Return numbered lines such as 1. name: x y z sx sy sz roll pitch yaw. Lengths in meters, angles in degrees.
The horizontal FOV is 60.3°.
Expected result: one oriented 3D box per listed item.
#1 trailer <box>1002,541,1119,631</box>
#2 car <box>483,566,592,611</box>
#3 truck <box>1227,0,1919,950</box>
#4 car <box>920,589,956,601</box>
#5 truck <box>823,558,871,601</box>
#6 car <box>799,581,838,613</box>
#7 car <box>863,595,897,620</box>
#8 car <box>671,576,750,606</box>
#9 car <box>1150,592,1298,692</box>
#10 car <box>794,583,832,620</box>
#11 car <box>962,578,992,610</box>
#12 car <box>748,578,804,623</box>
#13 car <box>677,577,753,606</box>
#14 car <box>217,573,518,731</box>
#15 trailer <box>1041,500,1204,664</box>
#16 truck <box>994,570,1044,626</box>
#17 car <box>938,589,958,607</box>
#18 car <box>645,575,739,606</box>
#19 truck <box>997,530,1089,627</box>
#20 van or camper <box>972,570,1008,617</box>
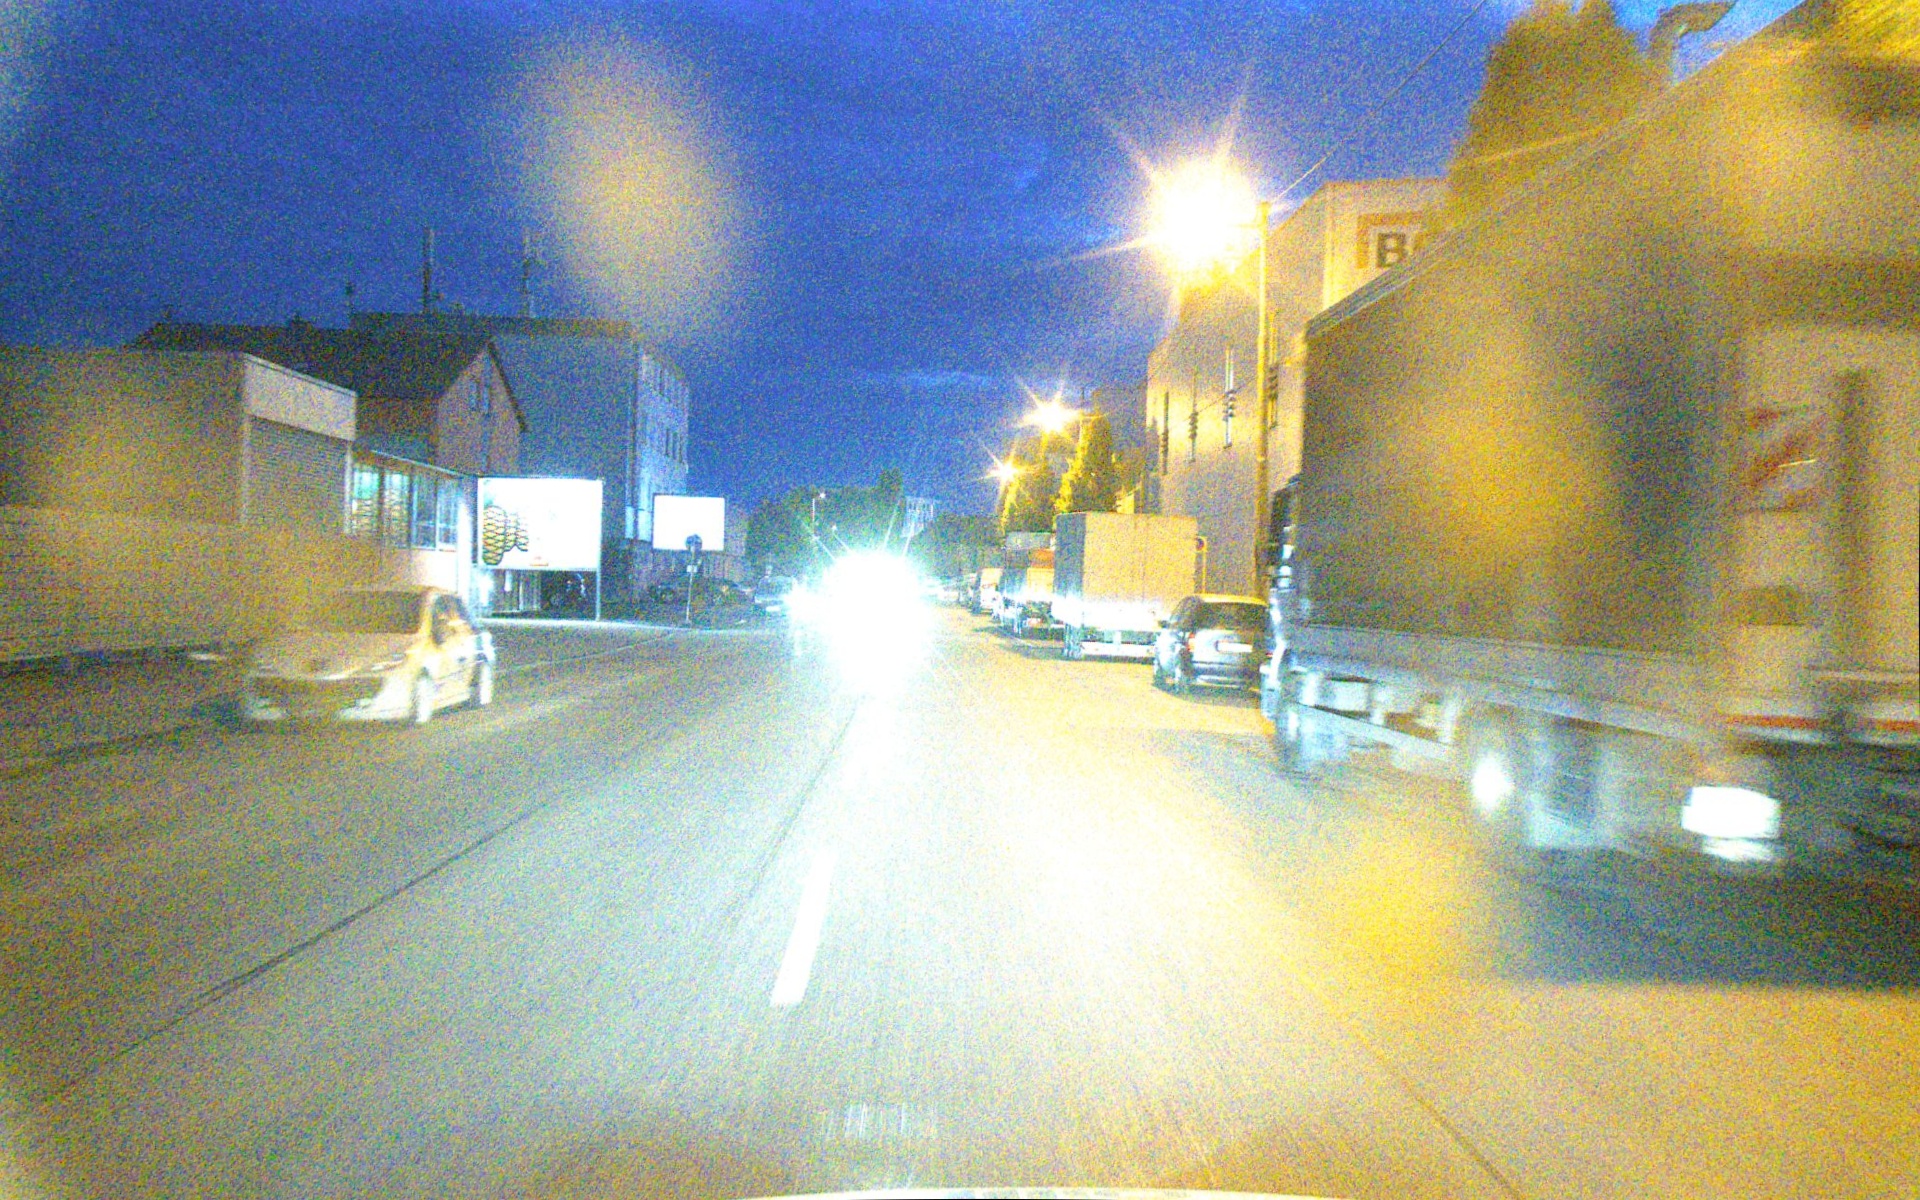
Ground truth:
1. trailer: 3.250 -0.418 56.528 3.120 2.797 10.712 0 0 -1
2. car: -17.068 -0.463 66.940 3.908 1.680 1.998 2 0 -4
3. truck: 4.652 -0.631 11.811 3.450 4.053 10.337 0 0 -2
4. car: -2.804 -0.618 212.728 4.437 1.404 2.000 2 0 2
5. truck: -10.126 -1.816 147.190 3.816 3.685 8.249 2 0 -6
6. car: -8.171 -0.173 95.805 1.858 1.766 4.355 1 0 0
7. car: -4.871 0.464 100.924 1.953 1.422 3.999 2 0 -1
8. car: -13.860 -0.499 91.858 3.941 1.622 1.982 0 0 -28
9. car: 4.291 0.647 27.396 1.815 1.545 3.817 0 0 -1
10. car: -7.194 0.054 81.407 1.645 1.766 4.353 2 0 -3
11. car: 1.174 -0.416 117.927 1.953 2.183 3.999 2 0 -1
12. car: -7.764 0.011 70.105 1.953 1.825 3.999 2 0 -1
13. car: -14.035 -0.493 94.813 3.941 1.622 1.982 0 0 -28
14. car: -6.133 0.474 17.636 1.804 1.445 3.999 2 0 -1
15. trailer: 3.769 -0.390 40.215 2.633 3.525 7.803 2 0 -4
16. truck: 2.671 -0.111 75.824 1.953 2.449 5.291 2 0 -1
17. car: -1.271 -0.188 168.231 1.953 1.713 3.999 2 0 -1
18. car: -14.003 -0.506 86.372 4.547 1.511 1.988 1 0 -21
19. truck: 3.091 -0.776 63.667 3.087 3.524 6.671 0 0 -1
20. van or camper: 1.734 -0.375 97.494 1.953 2.626 4.914 2 0 -1
